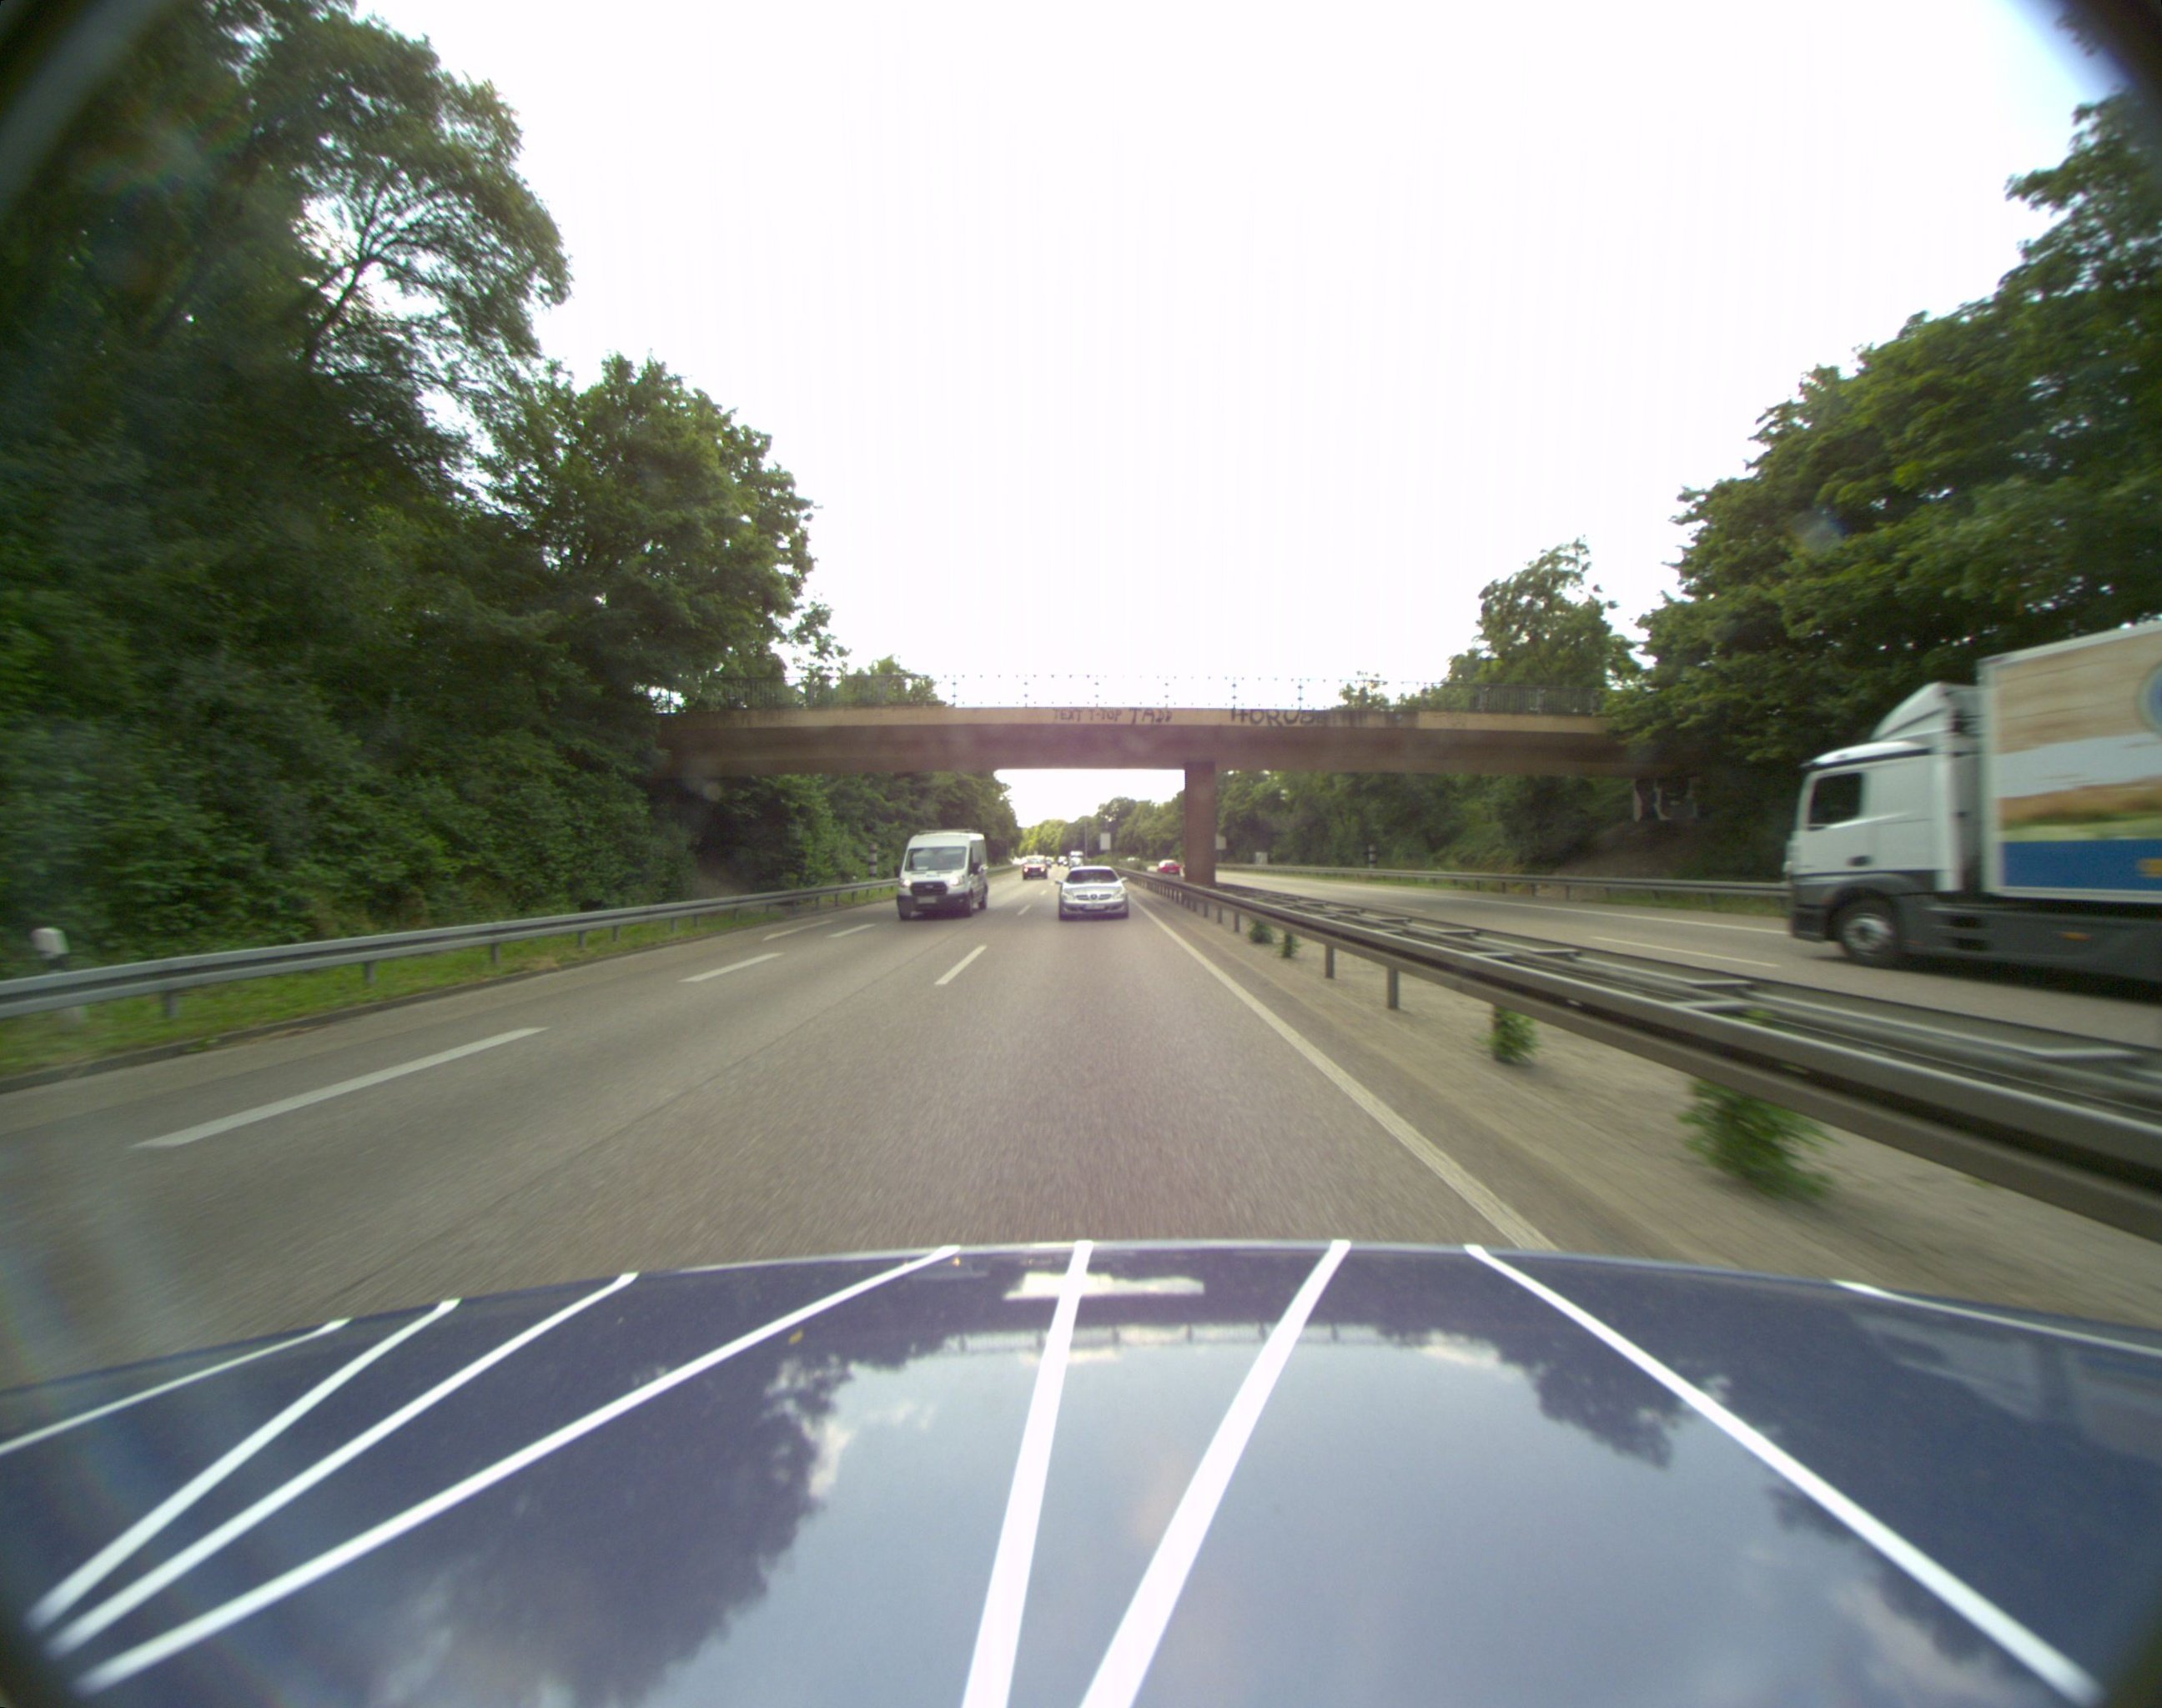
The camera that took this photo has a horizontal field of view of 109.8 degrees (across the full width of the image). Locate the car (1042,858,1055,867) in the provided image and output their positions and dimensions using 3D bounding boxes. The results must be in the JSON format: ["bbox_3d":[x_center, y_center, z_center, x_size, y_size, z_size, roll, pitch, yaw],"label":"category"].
[{"bbox_3d":[-5.282,1.373,122.844,1.890,1.516,3.998,0,0,-4],"label":"car"}]

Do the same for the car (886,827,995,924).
[{"bbox_3d":[-4.020,0.565,22.806,2.104,2.493,5.279,-2,0,1],"label":"car"}]

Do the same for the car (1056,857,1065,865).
[{"bbox_3d":[-4.164,1.398,155.143,1.699,1.579,4.000,-1,0,1],"label":"car"}]

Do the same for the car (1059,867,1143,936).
[{"bbox_3d":[0.433,1.052,18.794,1.751,1.295,5.223,-2,0,0],"label":"car"}]

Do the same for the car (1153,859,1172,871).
[{"bbox_3d":[10.571,1.425,98.395,1.869,1.447,4.805,-1,0,-1],"label":"car"}]

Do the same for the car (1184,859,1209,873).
[{"bbox_3d":[11.982,1.229,79.191,1.869,1.370,4.805,-1,0,-1],"label":"car"}]

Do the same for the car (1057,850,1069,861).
[{"bbox_3d":[-3.331,0.336,142.207,1.999,2.002,3.998,-1,0,-5],"label":"car"}]

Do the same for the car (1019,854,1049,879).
[{"bbox_3d":[-3.711,0.949,60.628,1.908,1.795,4.395,-2,0,1],"label":"car"}]

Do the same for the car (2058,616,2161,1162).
[{"bbox_3d":[7.434,0.196,1.284,2.294,3.214,7.287,-1,0,1],"label":"car"}]

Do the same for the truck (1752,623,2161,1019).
[{"bbox_3d":[12.376,-0.333,8.969,3.047,3.963,6.749,0,0,1],"label":"truck"}]

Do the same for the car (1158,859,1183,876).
[{"bbox_3d":[8.228,1.247,69.908,1.689,1.468,4.436,-1,0,-1],"label":"car"}]

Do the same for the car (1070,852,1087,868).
[{"bbox_3d":[-0.275,0.784,97.155,1.998,2.002,4.000,-1,0,1],"label":"car"}]

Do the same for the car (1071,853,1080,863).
[{"bbox_3d":[-0.920,0.651,126.284,1.472,1.560,3.294,-1,0,-2],"label":"car"}]
